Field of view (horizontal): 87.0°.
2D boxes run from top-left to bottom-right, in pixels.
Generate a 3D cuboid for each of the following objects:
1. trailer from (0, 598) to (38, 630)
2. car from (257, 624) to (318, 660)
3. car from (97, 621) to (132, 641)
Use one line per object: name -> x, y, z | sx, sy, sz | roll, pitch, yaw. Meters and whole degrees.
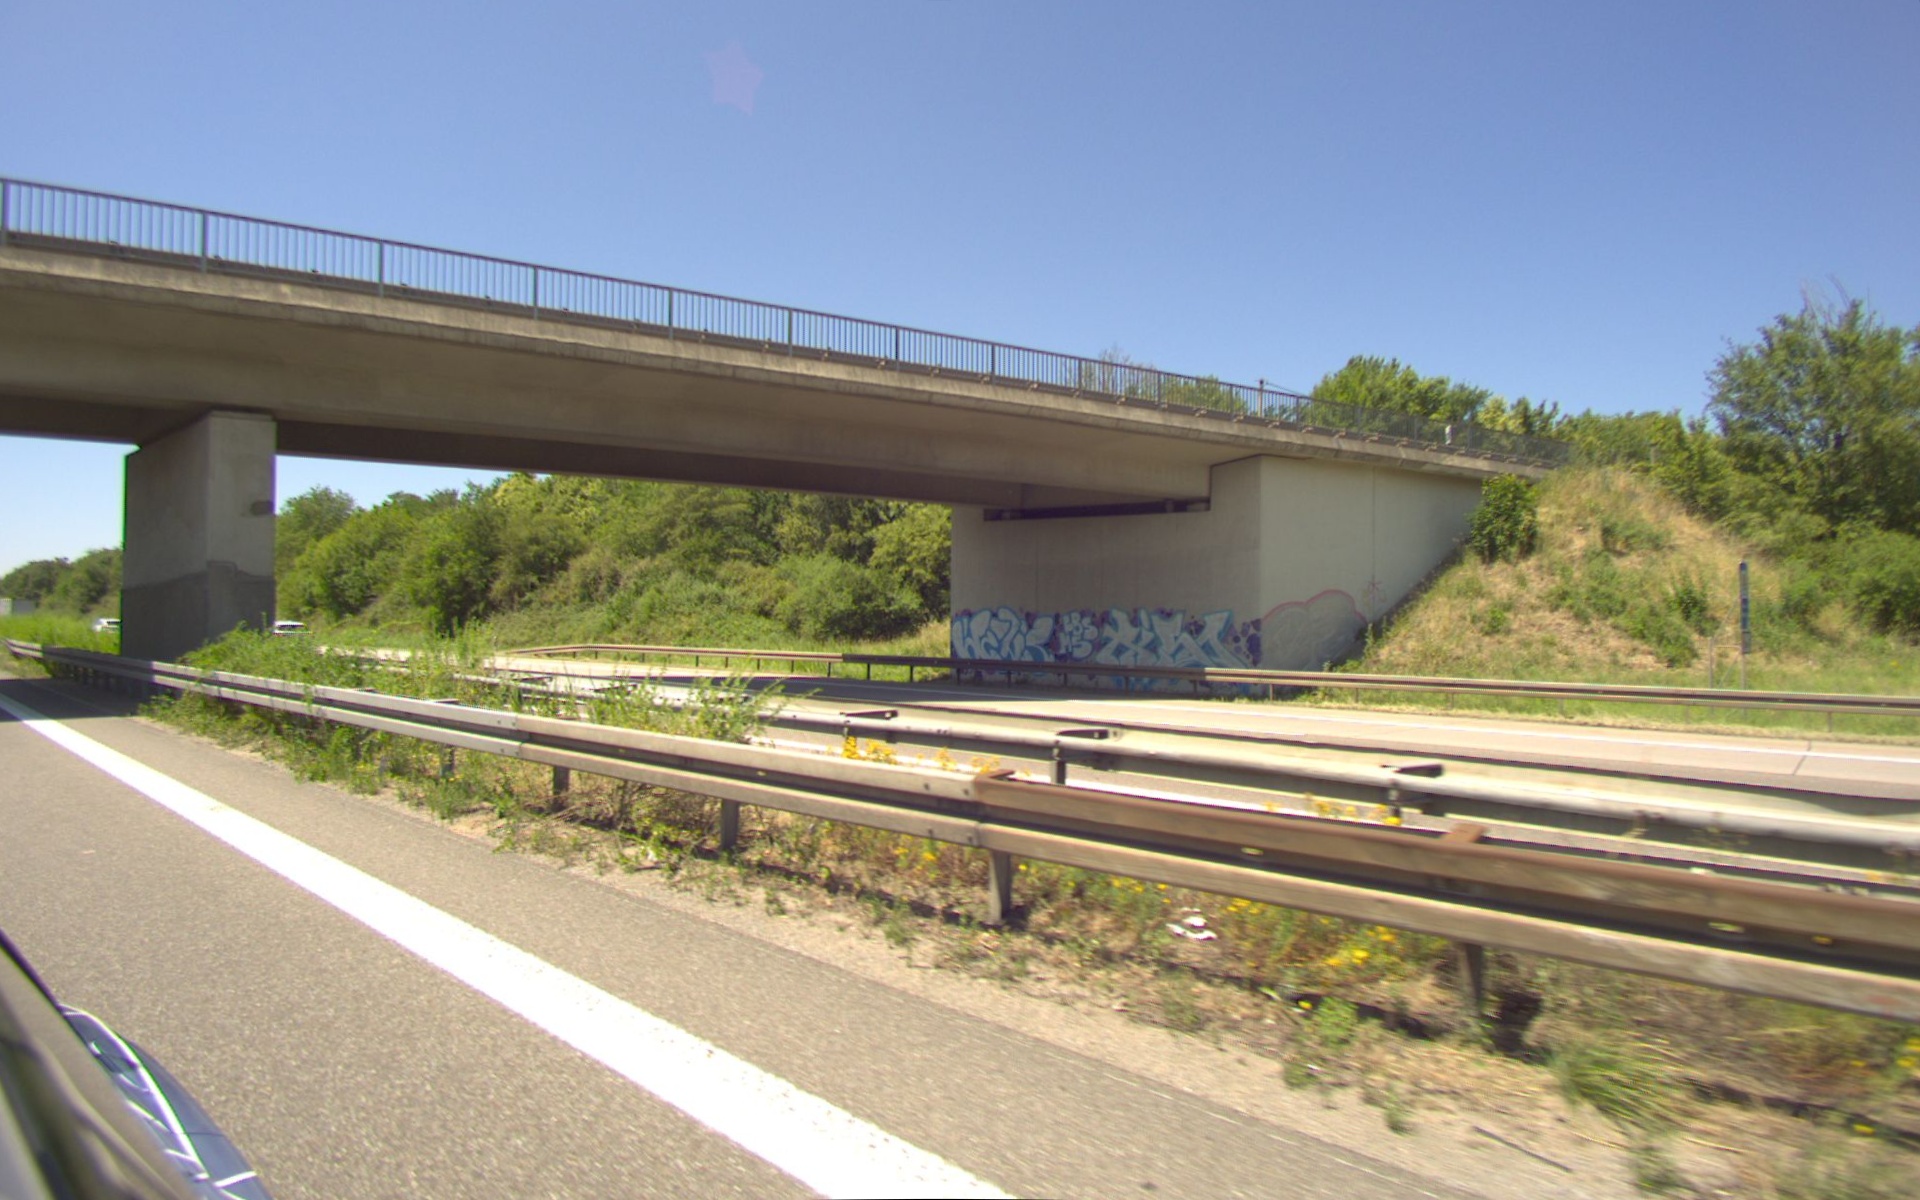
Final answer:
trailer -> -133.052, 1.915, 142.721 | 14.477, 4.280, 3.111 | -1, 0, 43
car -> -28.851, 1.779, 43.382 | 3.167, 1.397, 1.498 | -1, 0, 43
car -> -58.824, 2.163, 70.401 | 3.584, 1.261, 1.380 | -1, 1, 42
